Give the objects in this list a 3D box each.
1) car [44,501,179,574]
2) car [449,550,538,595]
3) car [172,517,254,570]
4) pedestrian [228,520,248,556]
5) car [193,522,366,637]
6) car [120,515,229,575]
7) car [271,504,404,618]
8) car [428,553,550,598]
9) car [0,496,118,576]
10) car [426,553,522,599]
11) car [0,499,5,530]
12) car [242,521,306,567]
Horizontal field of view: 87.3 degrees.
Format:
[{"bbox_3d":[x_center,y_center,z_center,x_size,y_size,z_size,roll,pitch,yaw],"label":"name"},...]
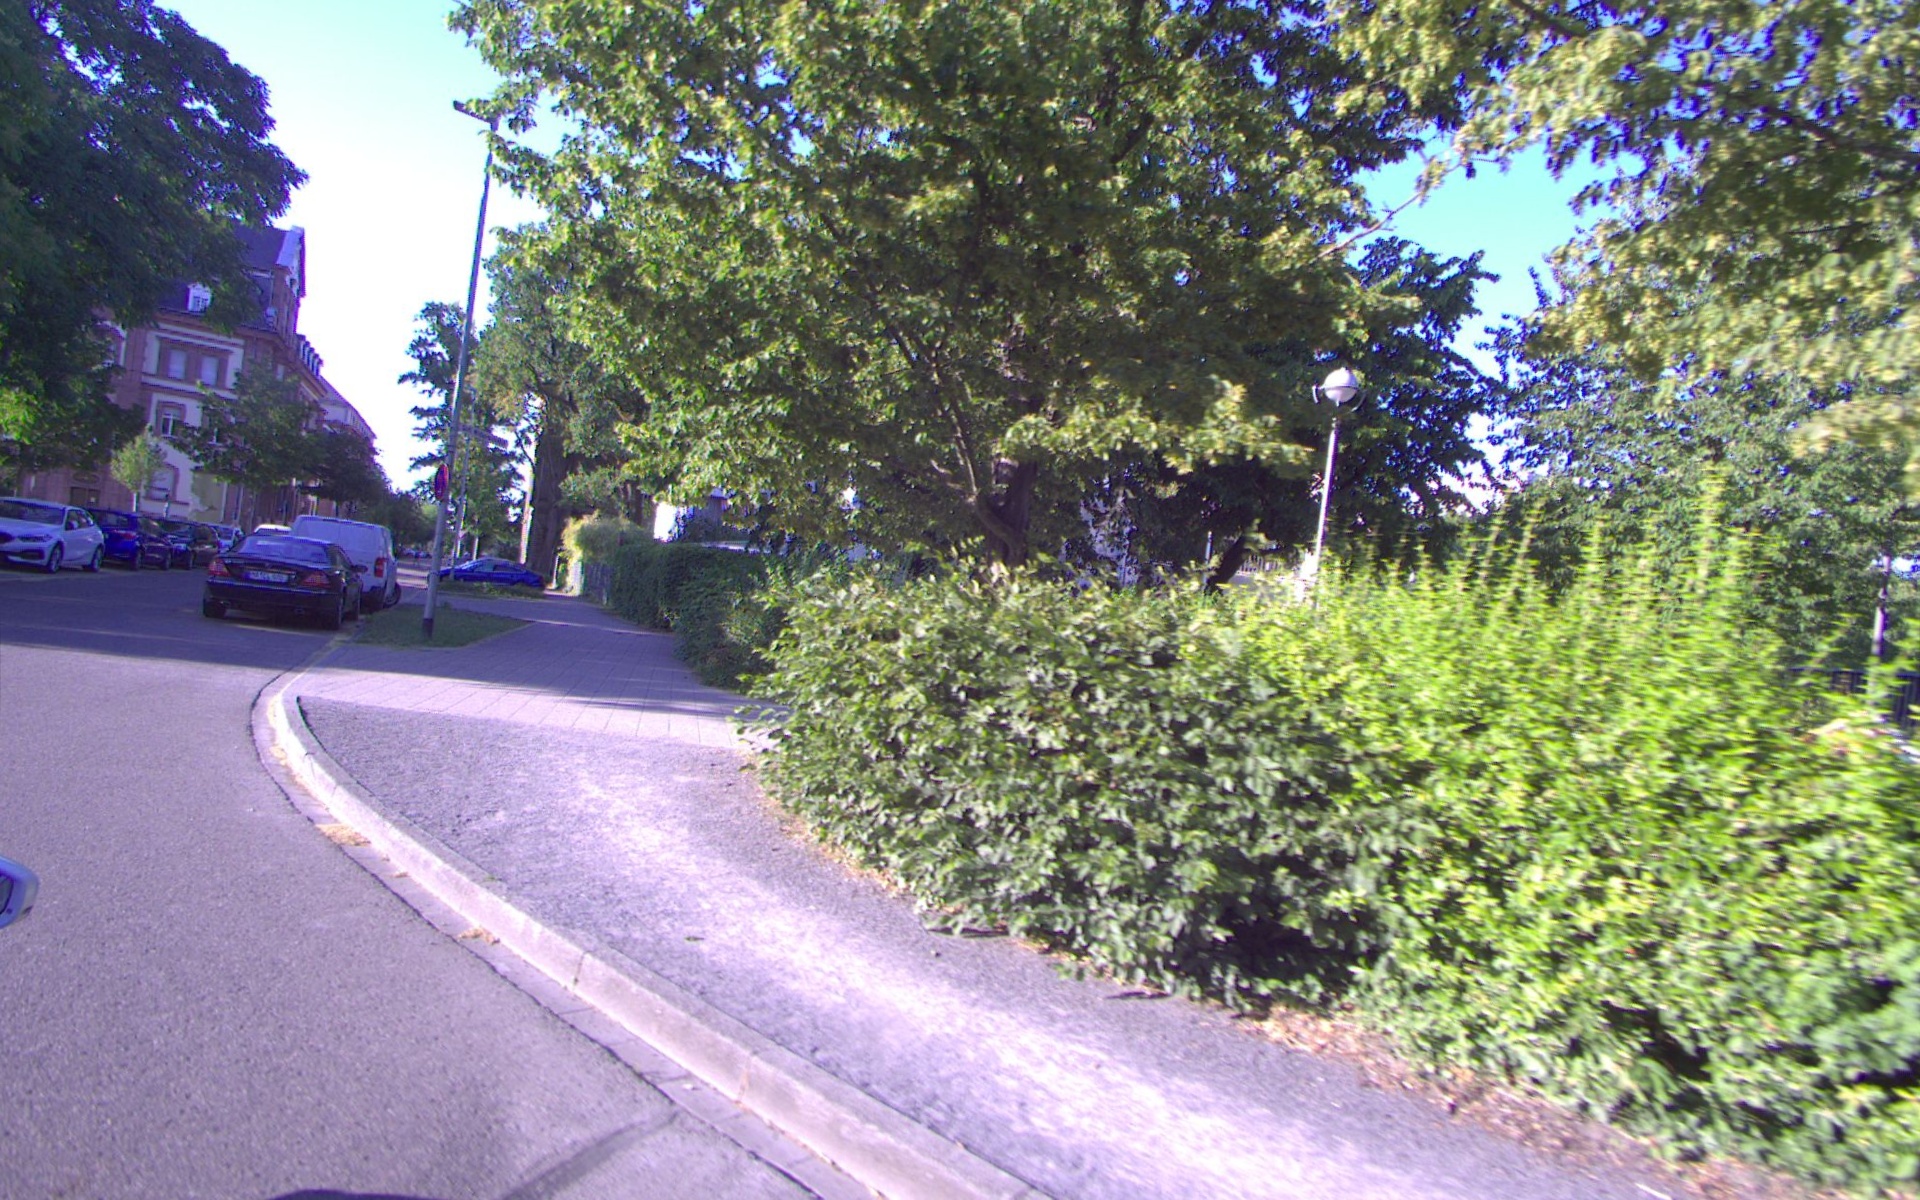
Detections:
[{"bbox_3d":[-22.196,-1.594,26.483,1.625,1.512,3.683,10,-2,-25],"label":"car"},{"bbox_3d":[-22.196,-1.307,47.893,3.475,1.603,1.745,8,-1,-36],"label":"car"},{"bbox_3d":[-26.515,-1.981,35.823,1.579,1.544,3.839,8,-1,-27],"label":"car"},{"bbox_3d":[-38.231,-3.286,53.270,0.594,1.805,0.939,7,0,-29],"label":"pedestrian"},{"bbox_3d":[-11.367,-0.379,17.132,1.751,1.485,4.832,8,-1,-27],"label":"car"},{"bbox_3d":[-24.201,-1.650,31.139,1.536,1.512,3.922,7,-1,-23],"label":"car"},{"bbox_3d":[-13.767,-0.857,22.543,1.936,2.037,5.118,8,-1,-27],"label":"car"},{"bbox_3d":[-20.173,-1.018,43.239,4.544,1.432,1.912,6,-1,-26],"label":"car"},{"bbox_3d":[-19.752,-1.377,21.412,1.676,1.422,3.951,10,-2,-25],"label":"car"},{"bbox_3d":[-21.815,-1.081,45.168,3.654,1.542,1.778,8,-1,-30],"label":"car"},{"bbox_3d":[-17.312,-1.161,16.381,1.376,1.439,3.406,9,-2,-25],"label":"car"},{"bbox_3d":[-32.809,-2.658,48.247,1.766,1.862,4.523,8,-1,-27],"label":"car"}]
